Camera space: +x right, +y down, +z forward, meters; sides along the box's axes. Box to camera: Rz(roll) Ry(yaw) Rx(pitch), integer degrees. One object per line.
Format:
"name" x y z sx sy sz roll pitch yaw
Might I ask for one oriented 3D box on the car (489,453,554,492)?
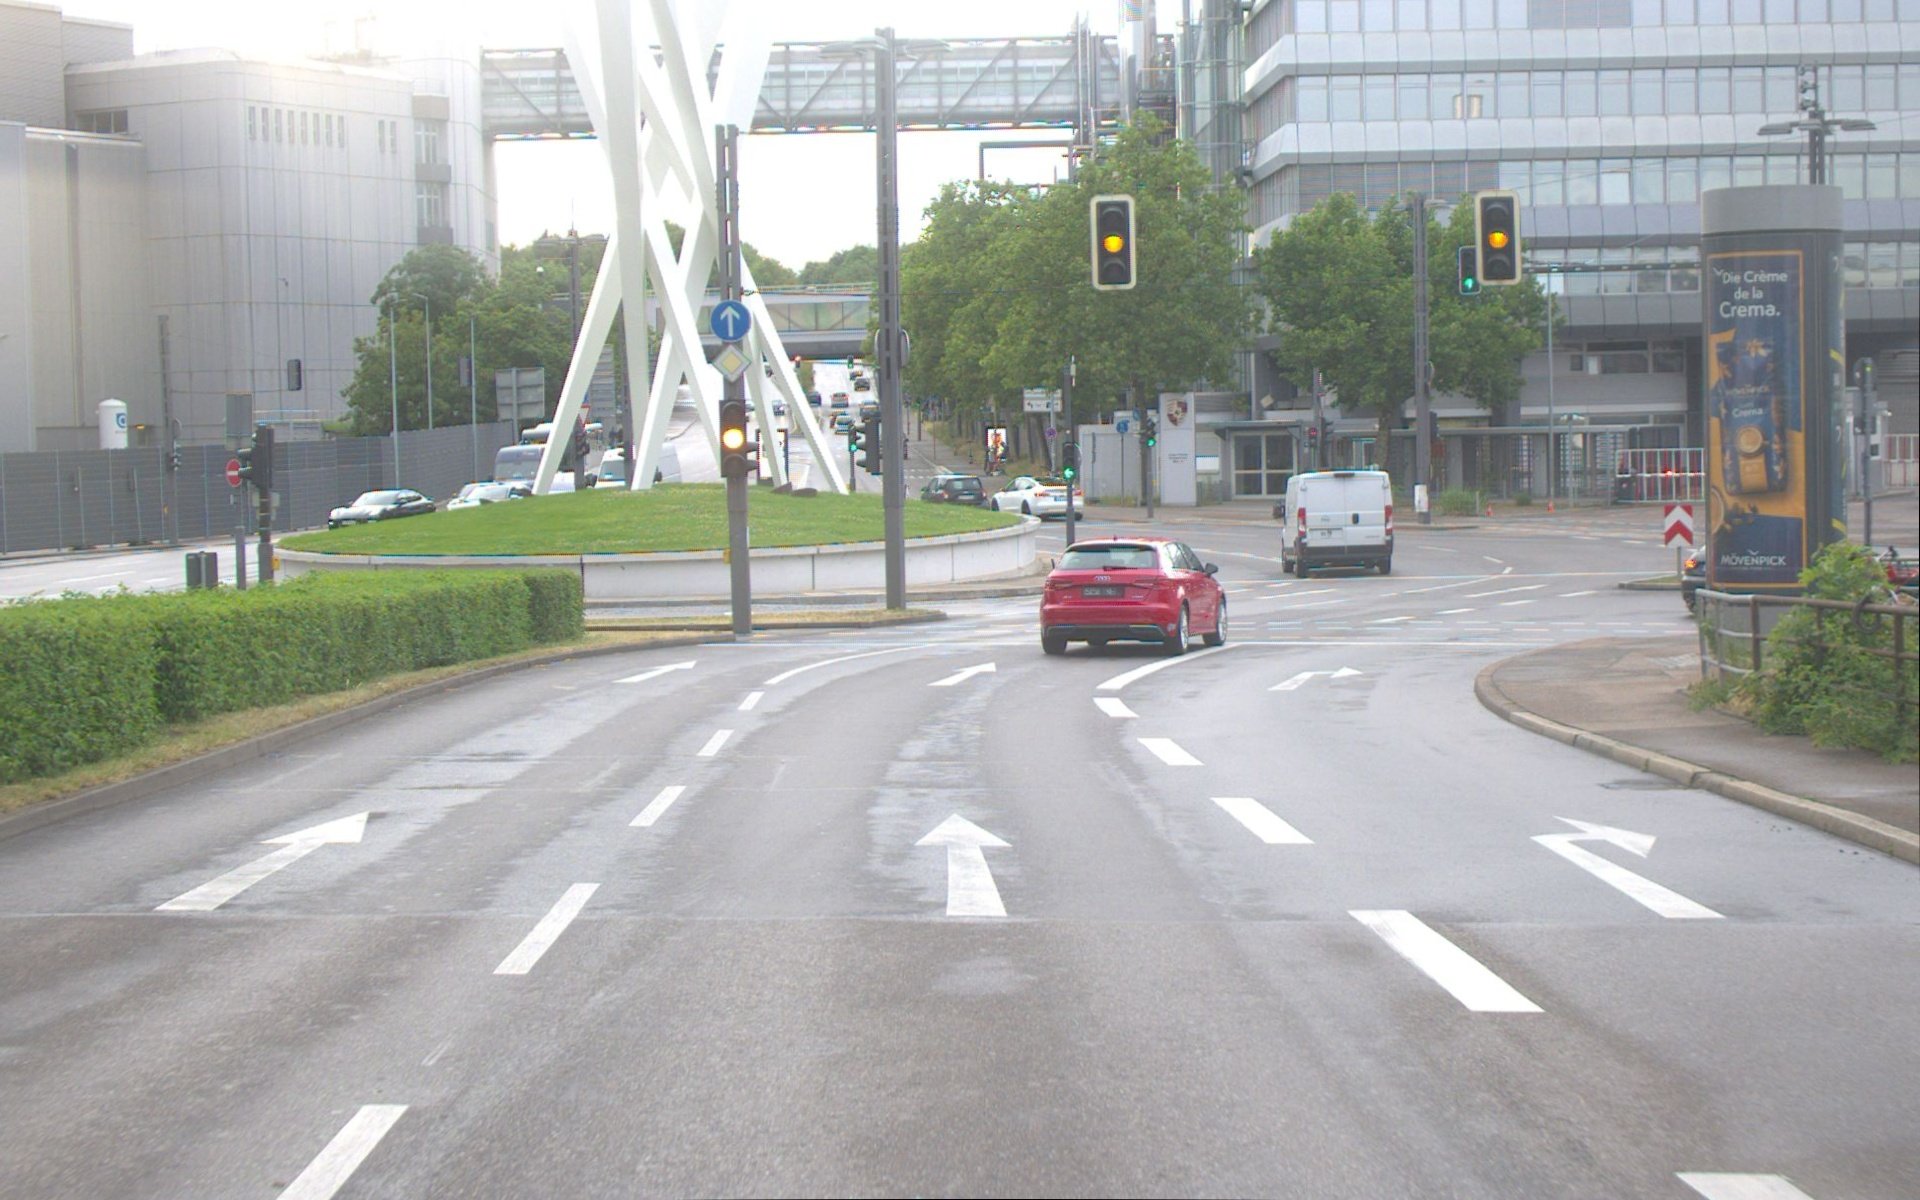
"car" -16.982 -4.928 133.256 1.833 1.467 4.514 -1 2 1

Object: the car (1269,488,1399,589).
"car" 8.102 -1.346 74.860 2.232 2.100 4.955 -1 1 0

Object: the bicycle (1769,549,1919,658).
"bicycle" 9.890 0.032 37.877 1.800 1.157 0.592 -1 1 2

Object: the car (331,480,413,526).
"car" -19.346 -3.195 113.178 1.833 1.467 4.514 -1 2 1

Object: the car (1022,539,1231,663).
"car" 2.104 -0.008 42.529 1.774 1.459 3.730 0 1 16

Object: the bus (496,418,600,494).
"bus" -18.073 -6.274 151.571 2.669 3.190 12.670 0 2 2

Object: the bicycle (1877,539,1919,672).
"bicycle" 9.572 0.022 32.328 1.926 1.219 0.599 -2 1 -29

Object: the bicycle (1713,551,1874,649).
"bicycle" 9.857 -0.003 40.722 1.770 1.136 0.678 -1 0 6

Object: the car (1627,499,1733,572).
"car" 13.242 -1.170 63.114 1.611 1.286 3.564 0 1 17

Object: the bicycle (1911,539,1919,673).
"bicycle" 9.664 0.030 31.592 1.926 1.219 0.599 -2 1 -31

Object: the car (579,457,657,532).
"car" -11.567 -3.594 116.567 1.993 2.438 5.427 -1 2 1

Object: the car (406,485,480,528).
"car" -18.242 -3.294 121.486 1.833 1.467 4.514 -1 2 1

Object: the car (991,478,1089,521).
"car" 2.515 -3.186 109.018 1.667 1.296 3.887 -1 1 -23

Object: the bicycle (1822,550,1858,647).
"bicycle" 10.723 -0.030 41.918 0.385 1.158 2.000 -1 0 14

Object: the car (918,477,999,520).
"car" -0.053 -3.176 107.787 1.556 1.284 3.415 -1 1 -18
